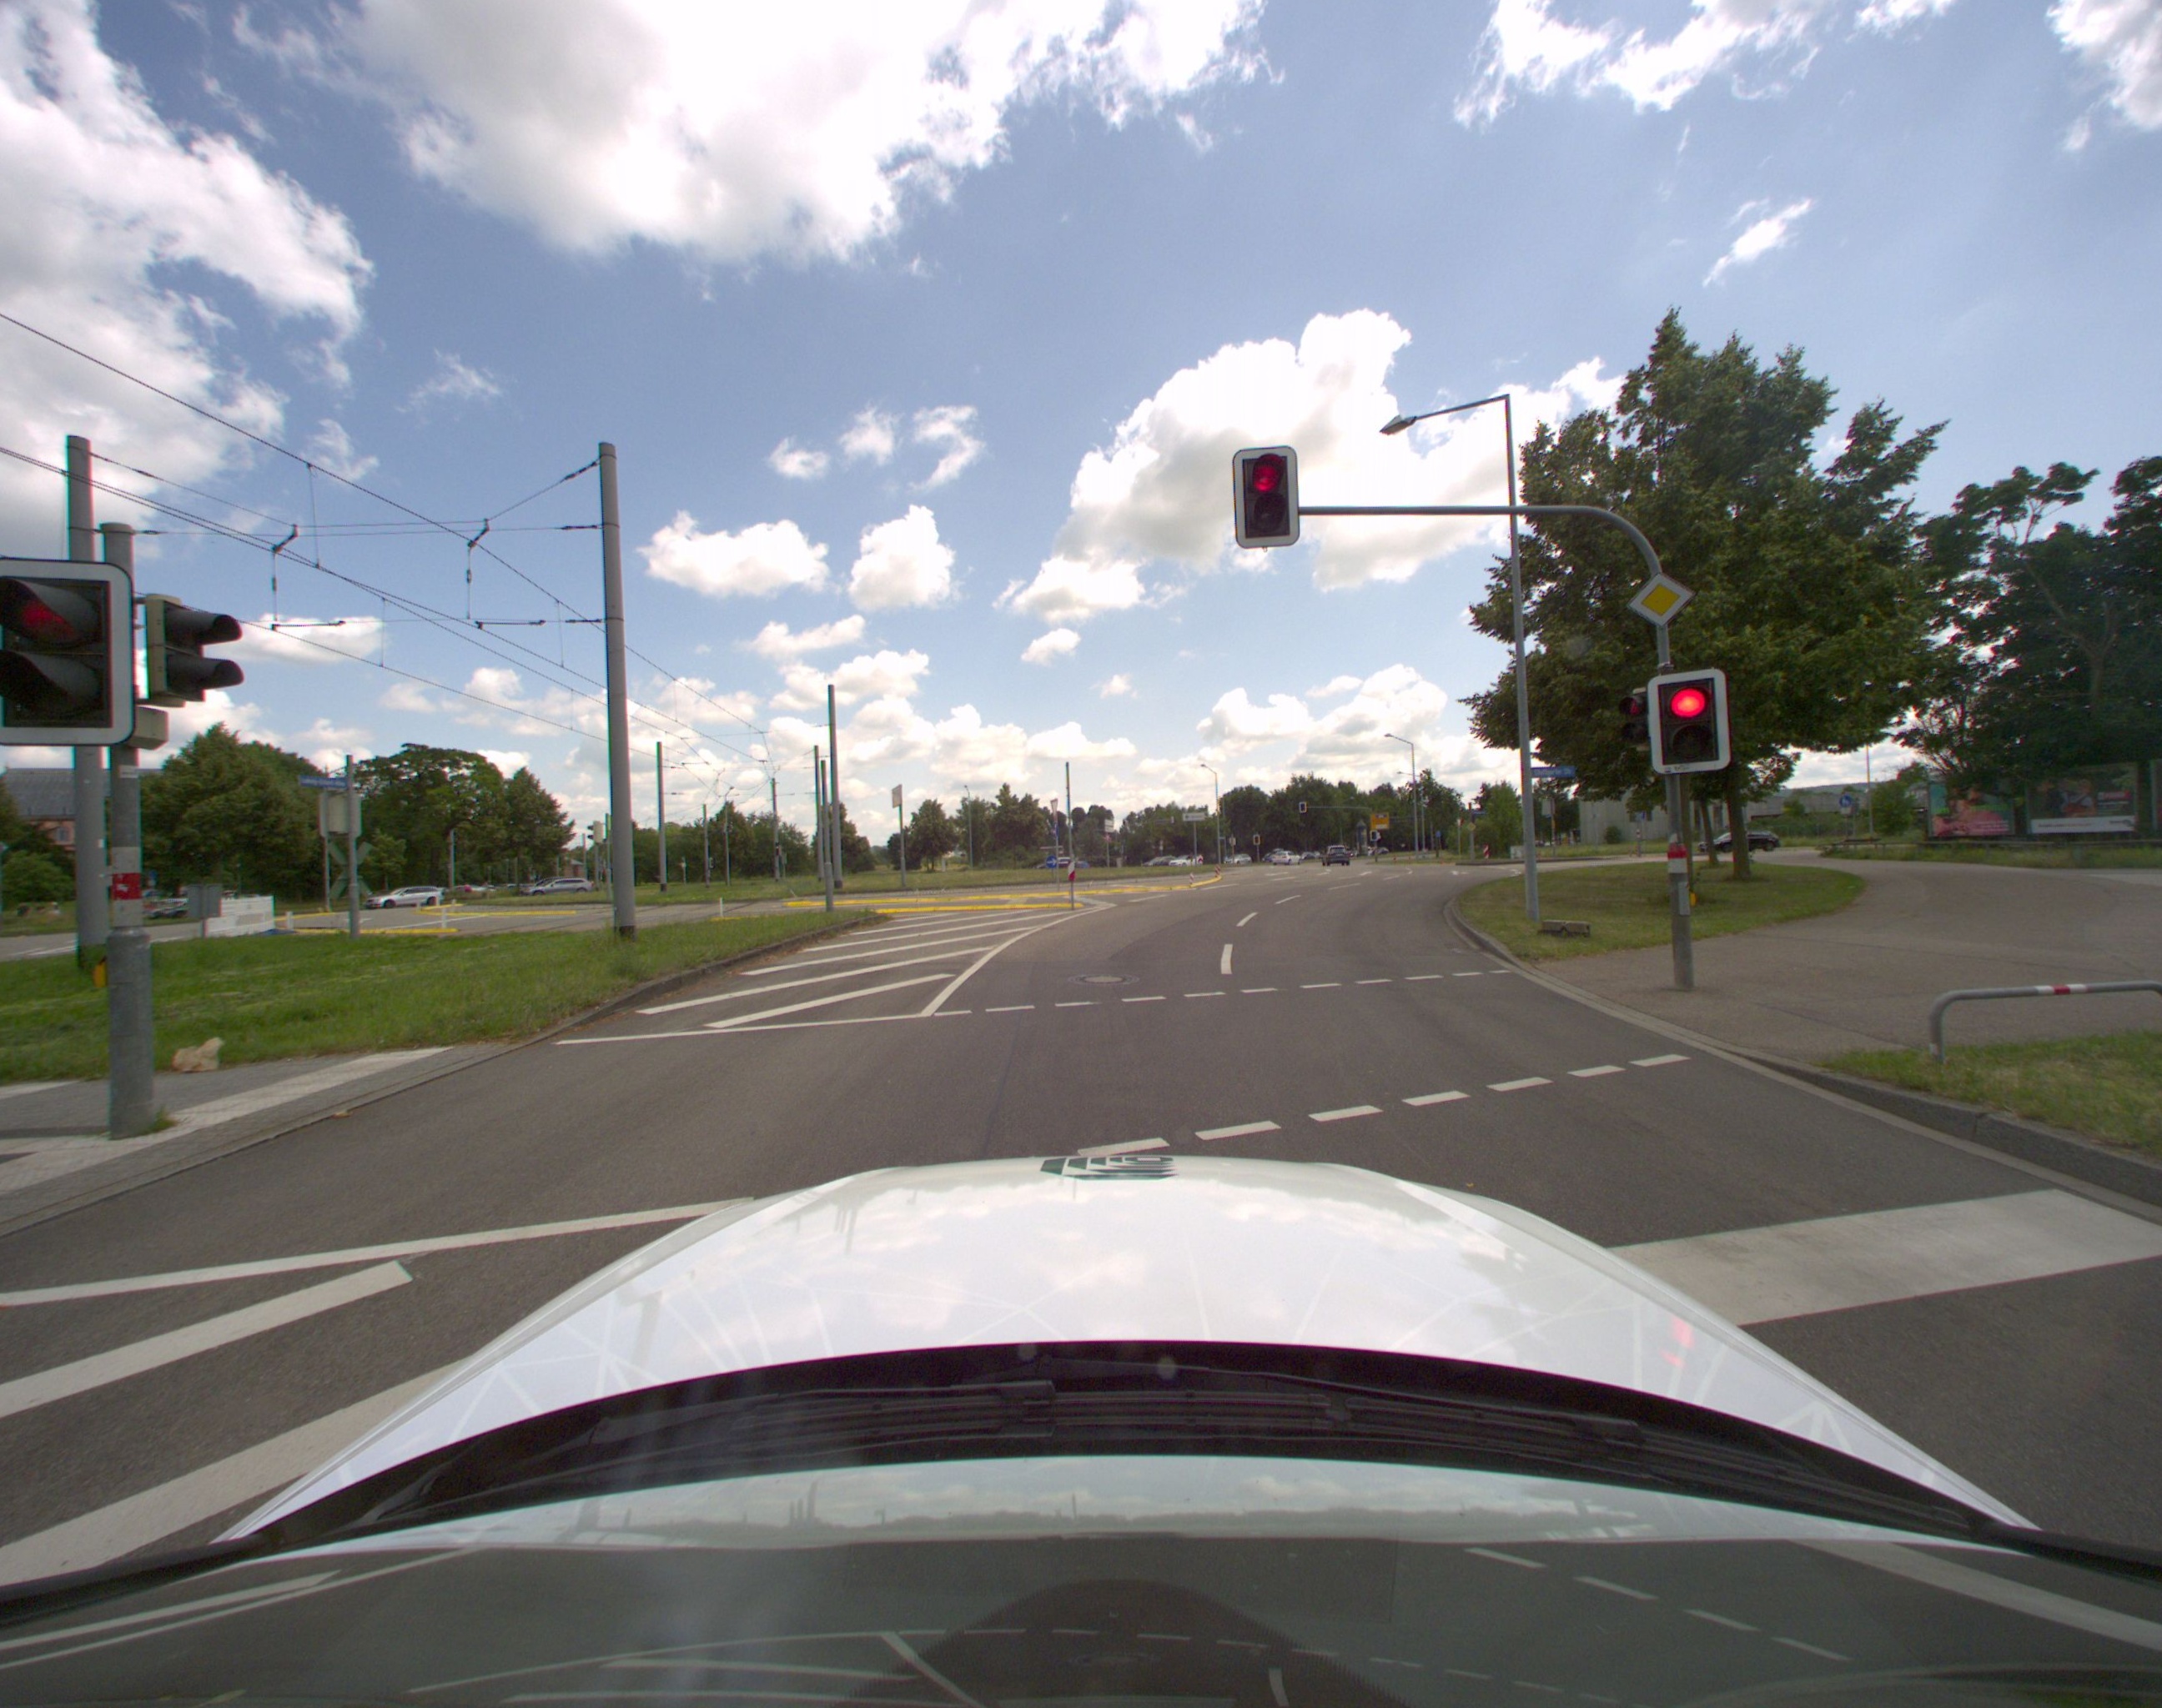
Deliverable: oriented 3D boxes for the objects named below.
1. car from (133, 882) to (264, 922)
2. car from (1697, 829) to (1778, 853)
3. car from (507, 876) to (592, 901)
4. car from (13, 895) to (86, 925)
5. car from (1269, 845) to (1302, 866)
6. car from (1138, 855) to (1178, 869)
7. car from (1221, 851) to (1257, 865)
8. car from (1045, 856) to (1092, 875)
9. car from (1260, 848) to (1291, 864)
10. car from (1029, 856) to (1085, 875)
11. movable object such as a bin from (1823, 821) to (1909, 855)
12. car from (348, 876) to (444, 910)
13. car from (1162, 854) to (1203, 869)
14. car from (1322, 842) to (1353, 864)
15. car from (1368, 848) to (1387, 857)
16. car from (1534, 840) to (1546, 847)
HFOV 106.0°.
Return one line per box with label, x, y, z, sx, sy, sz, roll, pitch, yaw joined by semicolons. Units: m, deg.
car;-51.791;2.775;47.926;1.976;2.013;4.752;-2;0;23
car;42.363;-0.823;52.585;3.977;1.463;1.688;-1;0;-3
car;-40.225;2.571;61.804;2.040;1.626;4.975;0;1;31
car;-80.951;4.347;63.981;2.004;2.013;3.965;-2;0;-27
car;21.381;0.124;85.148;1.974;2.013;4.026;-2;0;34
car;8.476;0.875;89.803;1.930;1.323;4.518;-2;0;45
car;19.294;0.489;99.316;2.097;1.521;4.534;-2;0;44
car;-1.326;1.228;87.563;4.723;1.791;1.837;-2;-3;-18
car;24.035;0.226;100.341;1.734;1.798;4.435;-2;0;43
car;-2.295;1.107;79.506;5.088;1.674;1.980;-2;0;-31
movable object such as a bin;91.045;-1.798;94.480;7.584;3.852;3.042;0;-1;-7
car;-48.074;2.712;57.268;1.977;2.013;4.748;-2;0;18
car;10.833;0.781;86.466;4.336;1.329;1.976;-2;0;-43
car;21.163;-0.069;67.391;1.980;1.626;4.323;-3;-1;12
car;49.645;-0.202;136.311;1.822;1.486;3.891;-1;-1;40
car;109.292;-2.500;193.993;1.822;1.486;3.891;-2;0;40
